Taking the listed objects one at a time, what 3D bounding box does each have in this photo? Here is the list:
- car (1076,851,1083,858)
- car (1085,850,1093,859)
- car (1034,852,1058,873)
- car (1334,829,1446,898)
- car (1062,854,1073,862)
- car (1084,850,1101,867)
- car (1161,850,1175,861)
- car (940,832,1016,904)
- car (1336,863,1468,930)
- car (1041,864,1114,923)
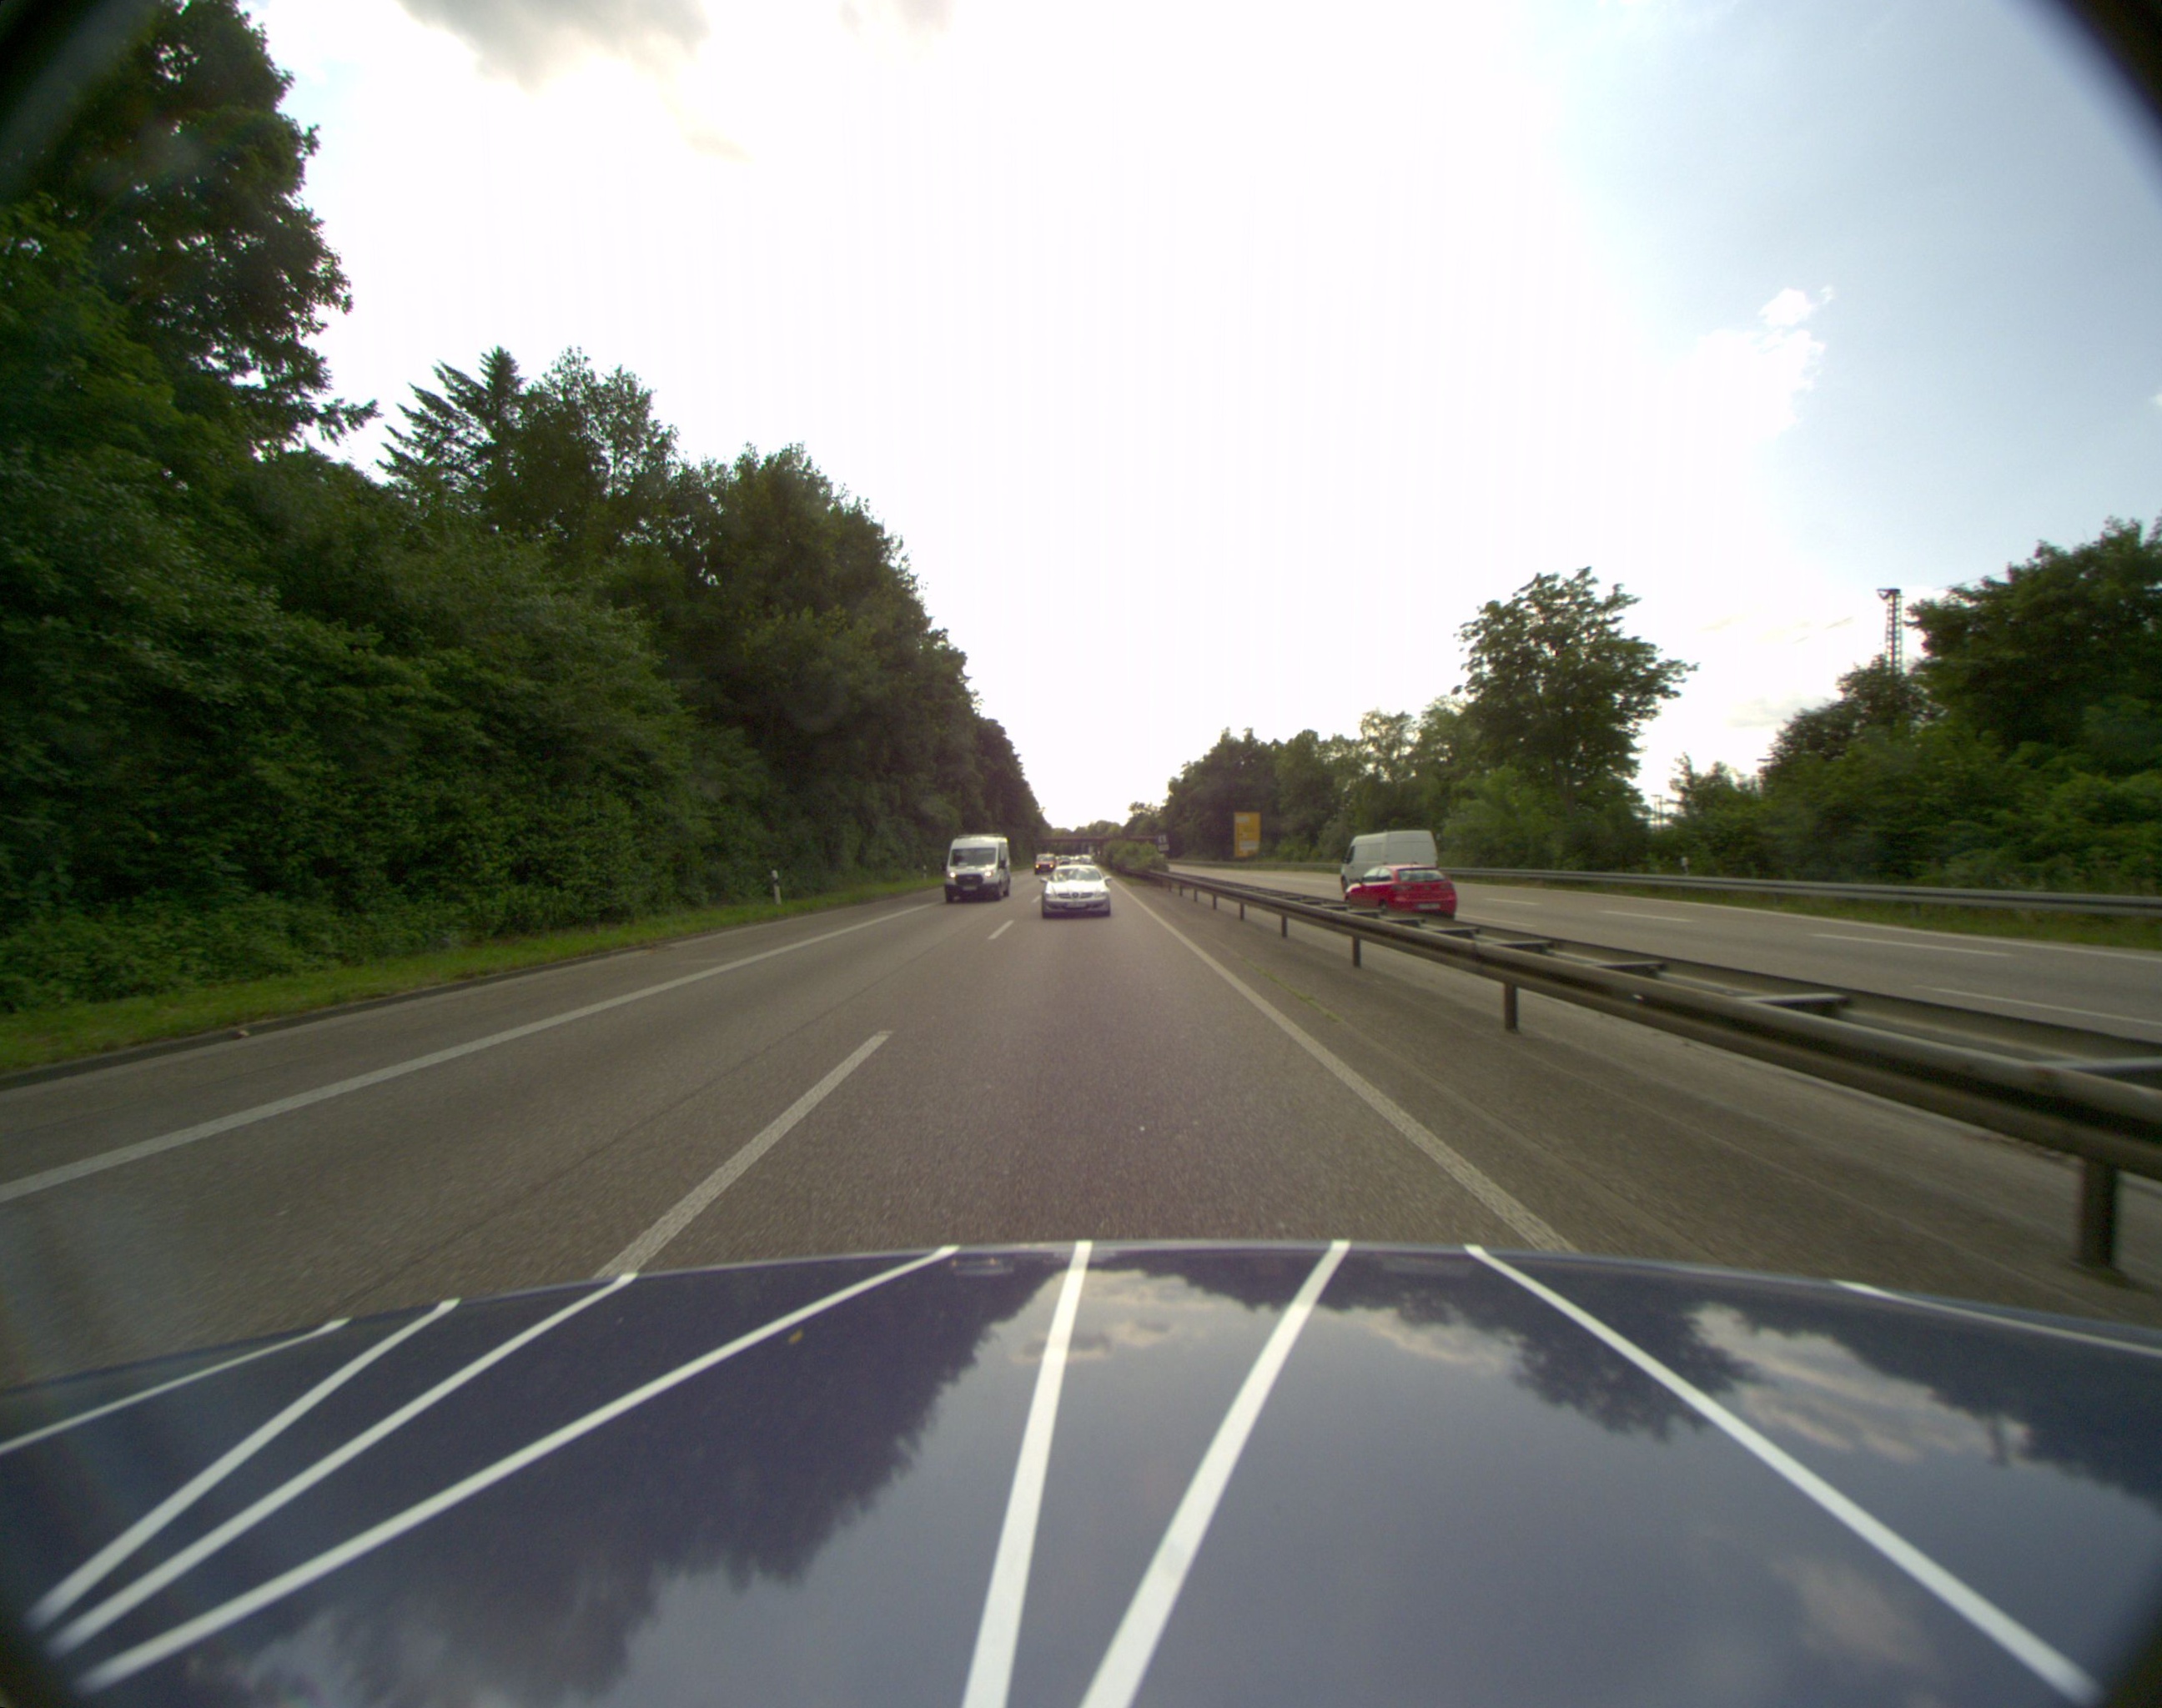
[{"bbox_3d":[-0.397,0.078,237.211,1.998,2.002,4.000,-1,0,0],"label":"car"},{"bbox_3d":[1.386,0.114,131.385,1.472,1.560,3.294,0,0,1],"label":"car"},{"bbox_3d":[-3.194,0.796,70.733,1.908,1.795,4.395,-2,0,1],"label":"car"},{"bbox_3d":[12.101,0.338,30.279,2.116,2.409,5.830,-2,0,1],"label":"car"},{"bbox_3d":[-2.385,0.695,138.693,1.889,1.516,4.000,-1,0,0],"label":"car"},{"bbox_3d":[1.446,0.560,92.740,1.998,2.002,4.000,-1,0,1],"label":"car"},{"bbox_3d":[14.771,0.227,129.068,1.867,1.937,4.000,-1,0,1],"label":"car"},{"bbox_3d":[-3.904,0.491,29.681,2.104,2.493,5.279,-2,0,1],"label":"car"},{"bbox_3d":[7.983,0.993,19.309,1.682,1.446,4.128,-1,0,1],"label":"car"},{"bbox_3d":[-0.096,1.012,21.419,1.751,1.295,5.223,-2,0,0],"label":"car"}]
